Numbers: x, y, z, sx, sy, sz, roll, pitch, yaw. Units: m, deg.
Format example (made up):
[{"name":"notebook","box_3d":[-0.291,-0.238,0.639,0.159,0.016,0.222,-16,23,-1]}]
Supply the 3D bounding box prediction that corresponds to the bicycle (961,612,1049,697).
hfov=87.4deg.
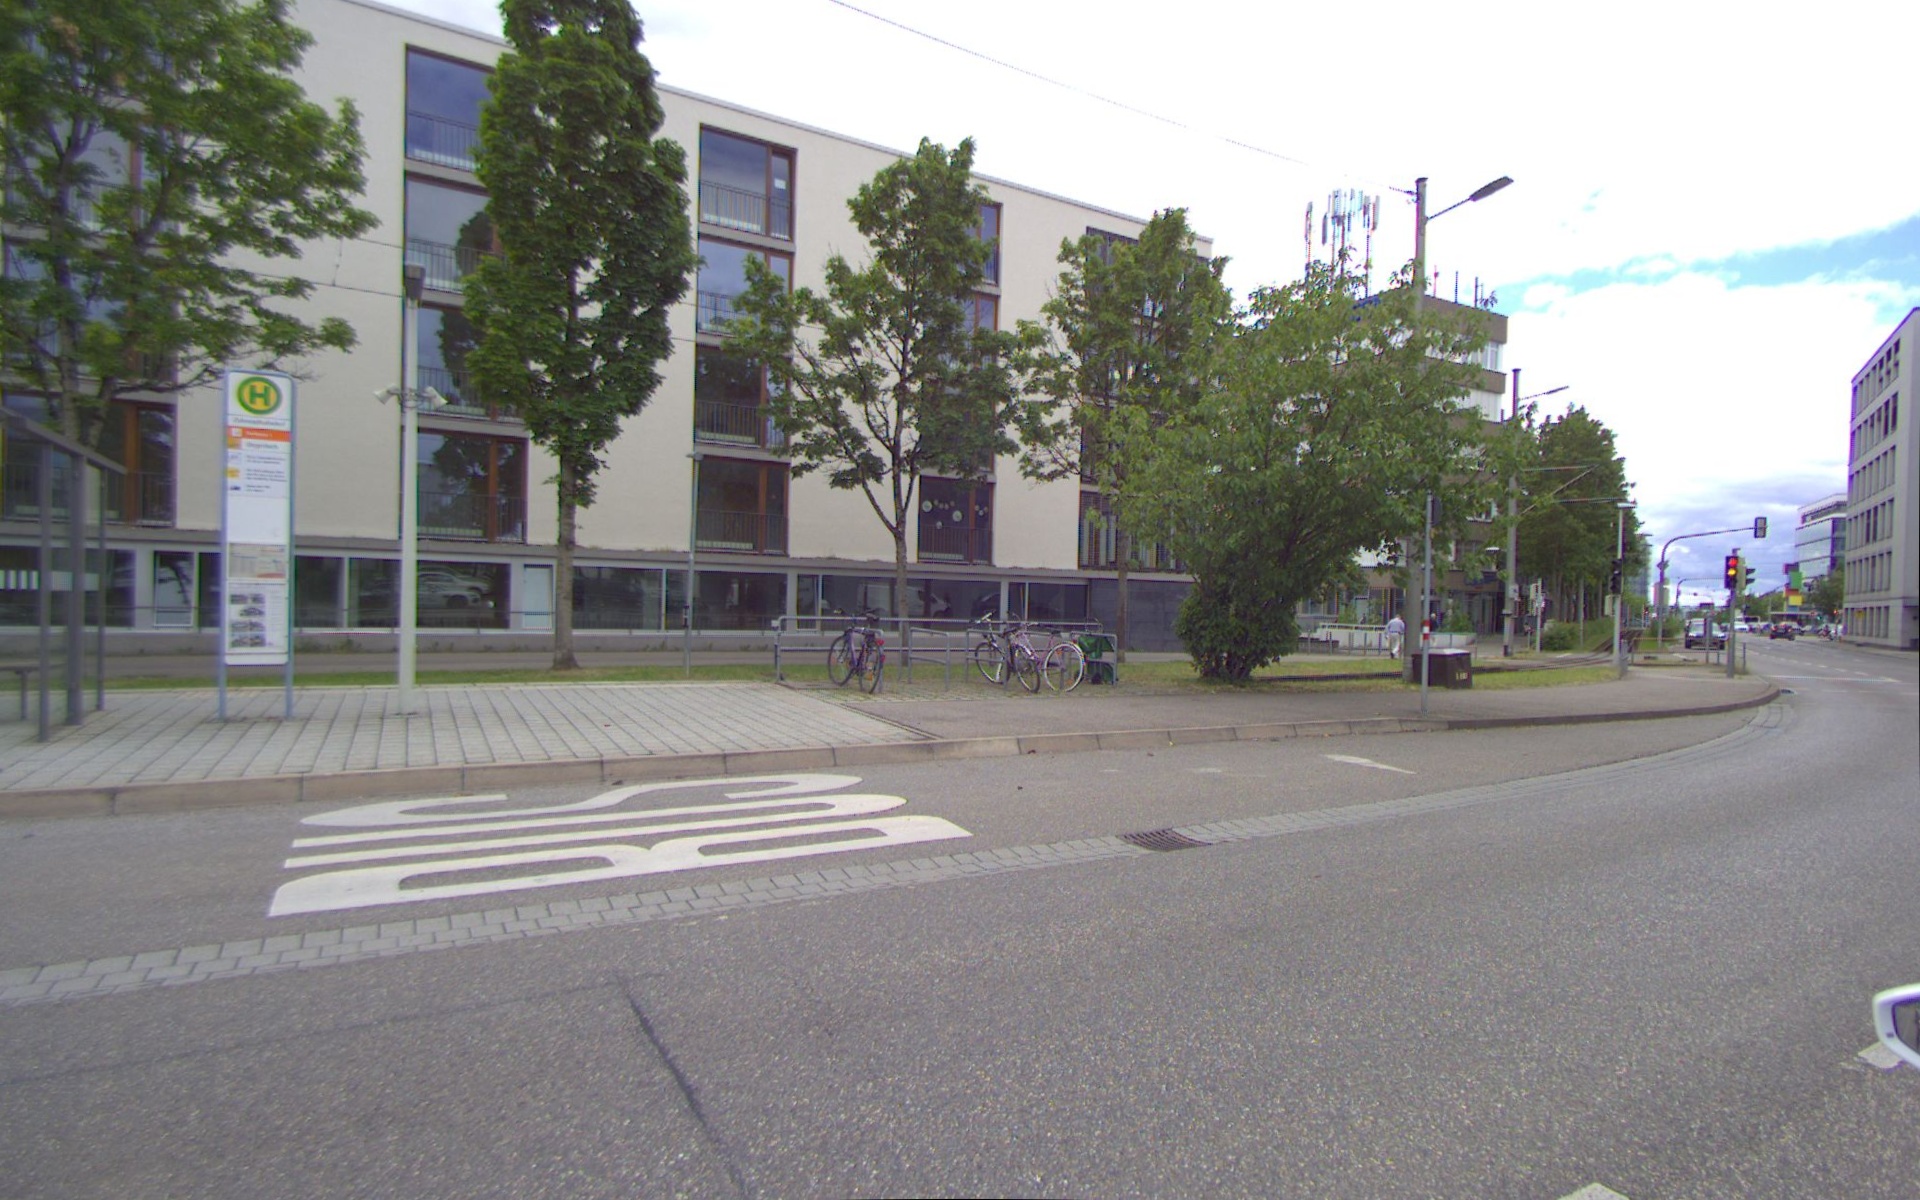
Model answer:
[{"name":"bicycle","box_3d":[0.620,0.753,14.471,0.403,1.060,1.741,1,2,-28]}]

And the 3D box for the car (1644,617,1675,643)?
[{"name":"car","box_3d":[51.566,2.180,74.040,1.660,1.832,4.335,-1,-2,38]}]

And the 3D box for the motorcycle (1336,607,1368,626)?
[{"name":"motorcycle","box_3d":[25.080,1.055,64.279,0.563,1.215,1.863,1,0,-40]}]

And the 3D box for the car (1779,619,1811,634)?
[{"name":"car","box_3d":[105.374,3.327,126.834,1.961,1.877,3.998,2,0,23]}]

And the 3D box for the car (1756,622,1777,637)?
[{"name":"car","box_3d":[92.010,3.311,114.575,1.737,1.630,4.171,2,0,38]}]

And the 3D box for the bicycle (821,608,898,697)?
[{"name":"bicycle","box_3d":[-1.381,0.677,13.563,0.391,1.039,1.680,1,2,-28]}]

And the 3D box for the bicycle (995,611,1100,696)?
[{"name":"bicycle","box_3d":[1.268,0.756,14.854,0.405,1.103,1.689,1,2,-42]}]

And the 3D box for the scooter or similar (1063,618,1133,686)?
[{"name":"scooter or similar","box_3d":[2.205,0.816,16.021,0.767,1.023,0.781,1,0,-38]}]

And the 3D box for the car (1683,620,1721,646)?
[{"name":"car","box_3d":[43.958,1.954,59.497,1.746,1.498,3.985,-1,-2,37]}]

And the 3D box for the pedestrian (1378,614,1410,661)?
[{"name":"pedestrian","box_3d":[14.740,1.267,34.100,0.836,1.547,0.993,0,-1,33]}]

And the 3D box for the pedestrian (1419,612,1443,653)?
[{"name":"pedestrian","box_3d":[20.334,1.403,43.376,0.676,1.728,0.683,1,-1,-34]}]

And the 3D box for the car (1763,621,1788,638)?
[{"name":"car","box_3d":[81.292,2.926,100.140,1.737,1.630,4.171,2,0,38]}]

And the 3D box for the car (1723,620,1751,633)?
[{"name":"car","box_3d":[106.907,3.623,138.208,1.961,1.599,3.998,1,0,23]}]
